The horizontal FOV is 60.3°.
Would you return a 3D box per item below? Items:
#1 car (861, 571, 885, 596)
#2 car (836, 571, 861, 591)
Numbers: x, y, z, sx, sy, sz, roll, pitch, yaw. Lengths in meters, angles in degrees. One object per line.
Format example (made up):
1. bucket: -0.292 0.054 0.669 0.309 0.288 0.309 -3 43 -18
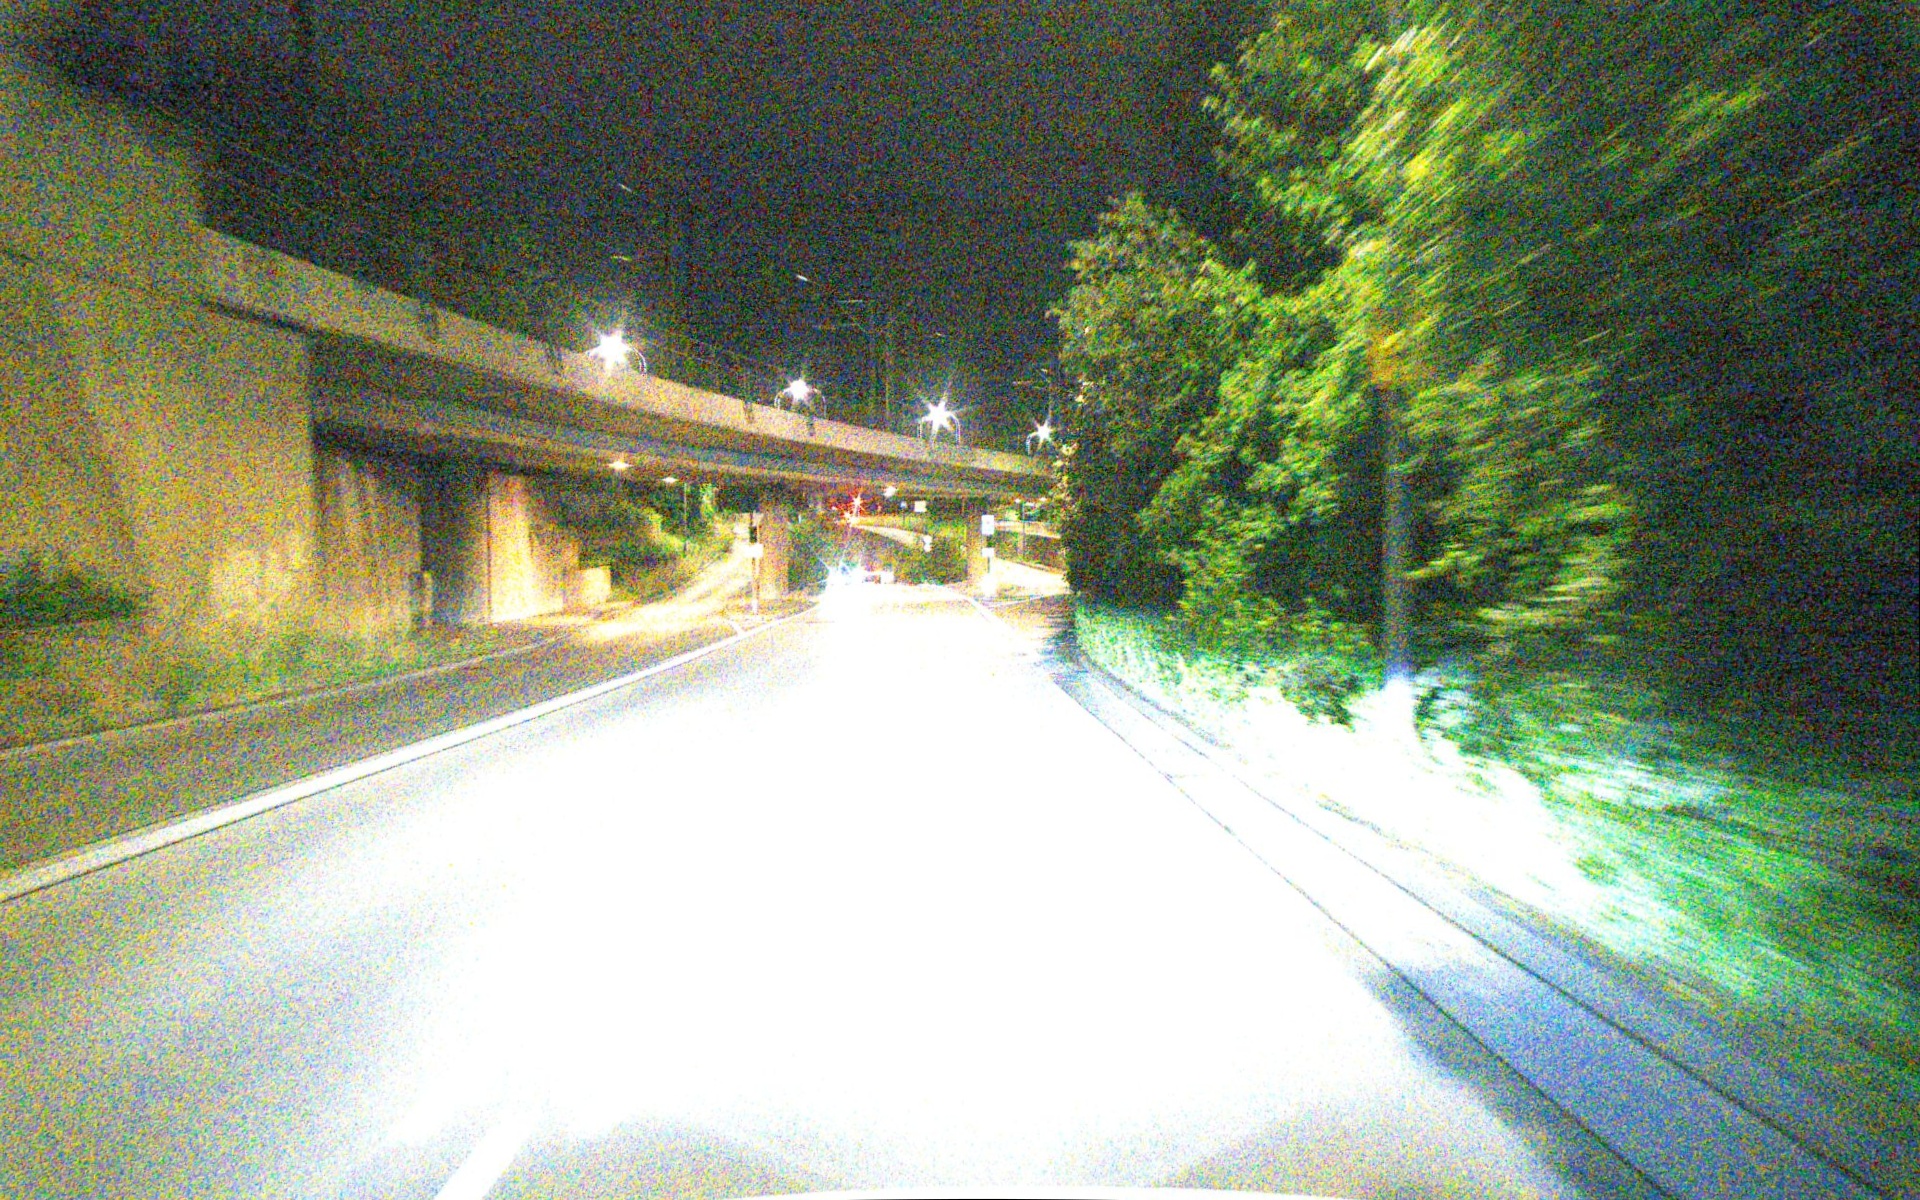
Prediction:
1. car: -7.650 -1.459 145.205 1.882 2.049 4.117 2 -1 -6
2. car: -9.080 -1.510 134.498 1.845 1.581 4.212 -1 0 -6
